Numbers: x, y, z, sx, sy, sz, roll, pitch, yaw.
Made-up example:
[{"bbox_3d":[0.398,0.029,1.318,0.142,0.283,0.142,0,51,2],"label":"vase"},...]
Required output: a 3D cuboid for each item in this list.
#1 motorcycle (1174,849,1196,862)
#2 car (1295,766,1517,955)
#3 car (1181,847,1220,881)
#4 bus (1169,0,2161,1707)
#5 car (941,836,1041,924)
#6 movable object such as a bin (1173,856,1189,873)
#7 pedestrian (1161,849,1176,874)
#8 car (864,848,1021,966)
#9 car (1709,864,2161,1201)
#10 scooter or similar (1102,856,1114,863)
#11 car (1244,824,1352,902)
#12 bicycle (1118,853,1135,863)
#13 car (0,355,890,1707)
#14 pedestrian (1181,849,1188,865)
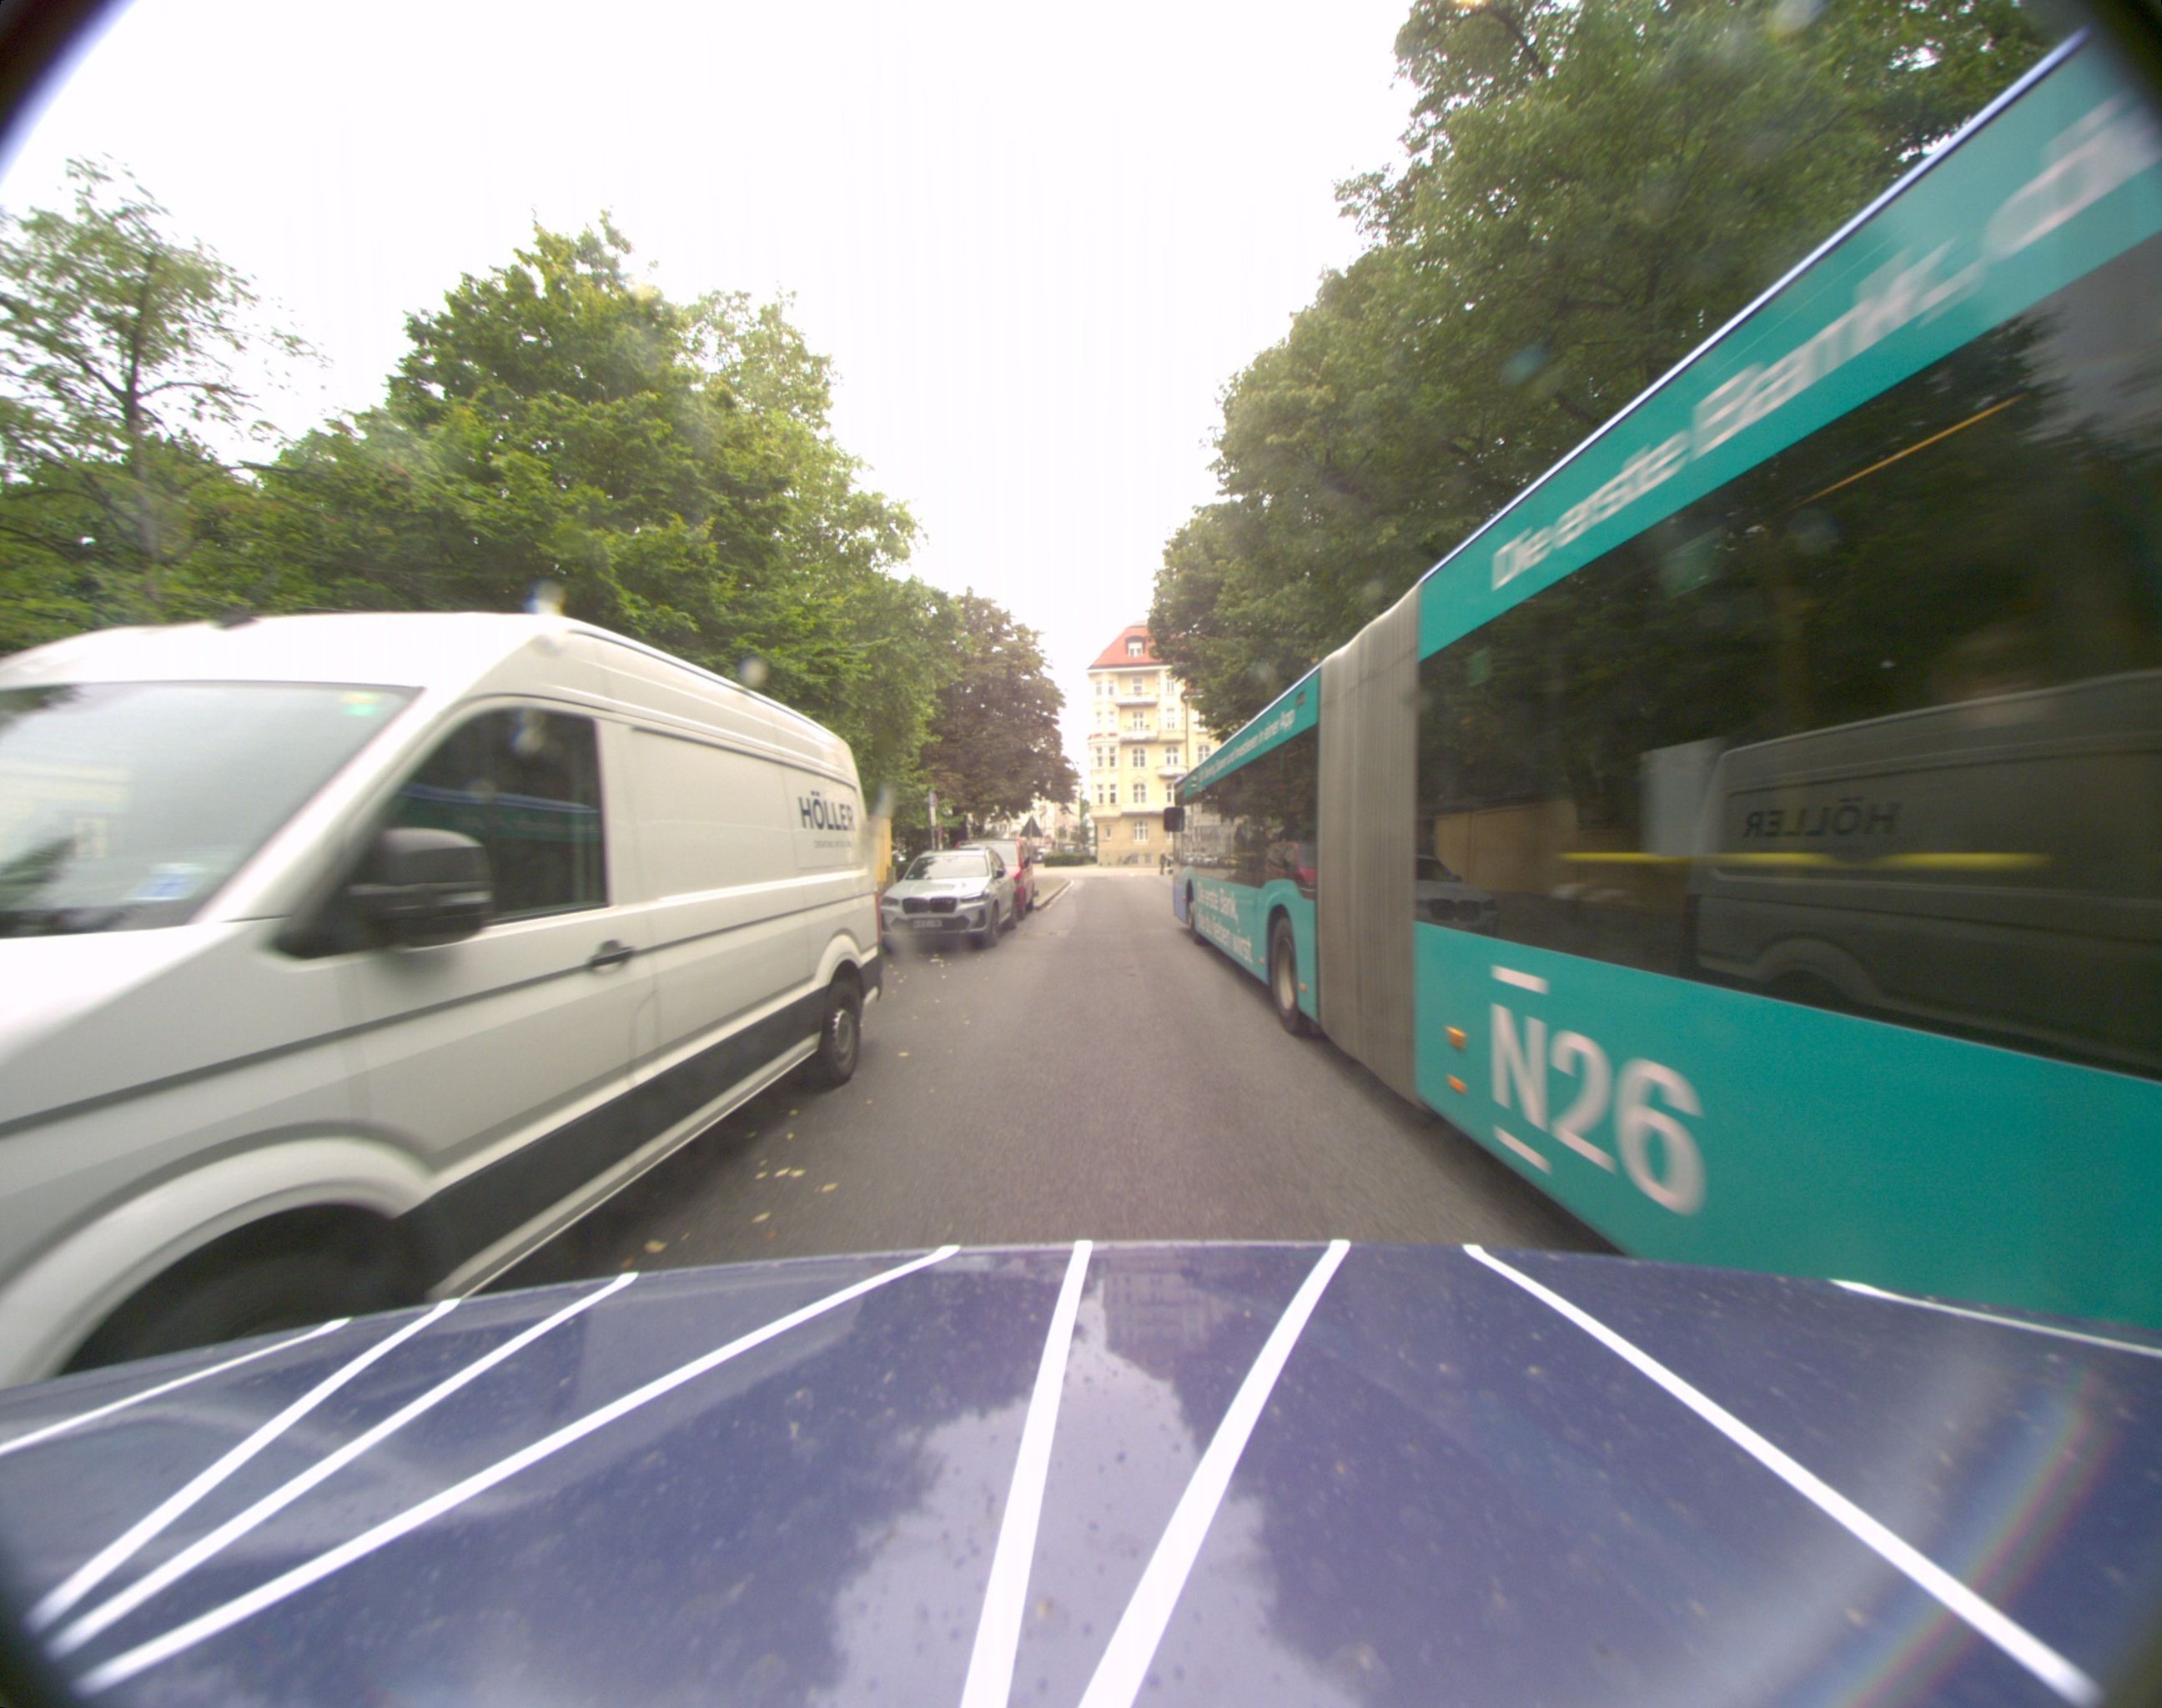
[{"bbox_3d":[10.850,0.139,79.152,2.243,1.319,0.824,0,2,6],"label":"motorcycle"},{"bbox_3d":[5.783,0.038,14.614,1.949,2.838,6.236,0,1,4],"label":"car"},{"bbox_3d":[6.922,0.547,44.468,1.884,1.758,5.060,0,1,5],"label":"car"},{"bbox_3d":[2.936,0.060,5.287,2.866,3.221,18.422,-1,1,1],"label":"bus"},{"bbox_3d":[-2.155,0.568,19.656,1.863,1.956,5.444,-1,0,1],"label":"car"},{"bbox_3d":[6.654,0.709,50.730,0.900,1.078,0.777,-1,2,-6],"label":"movable object such as a bin"},{"bbox_3d":[5.787,0.473,50.514,0.863,1.610,0.593,-1,2,-6],"label":"pedestrian"},{"bbox_3d":[-2.277,0.784,13.821,1.863,1.731,4.602,-2,1,1],"label":"car"},{"bbox_3d":[5.607,0.787,3.595,1.794,1.429,4.553,0,0,5],"label":"car"},{"bbox_3d":[2.848,0.571,80.867,1.235,0.683,0.316,-1,2,-19],"label":"scooter or similar"},{"bbox_3d":[7.115,0.268,25.565,2.119,2.335,5.408,-1,0,0],"label":"car"},{"bbox_3d":[4.786,0.418,80.311,1.783,0.986,0.543,0,2,5],"label":"bicycle"},{"bbox_3d":[-2.635,0.450,3.209,2.100,2.473,5.738,-1,1,1],"label":"car"},{"bbox_3d":[10.660,0.308,78.400,0.606,1.655,0.463,0,2,14],"label":"pedestrian"}]
